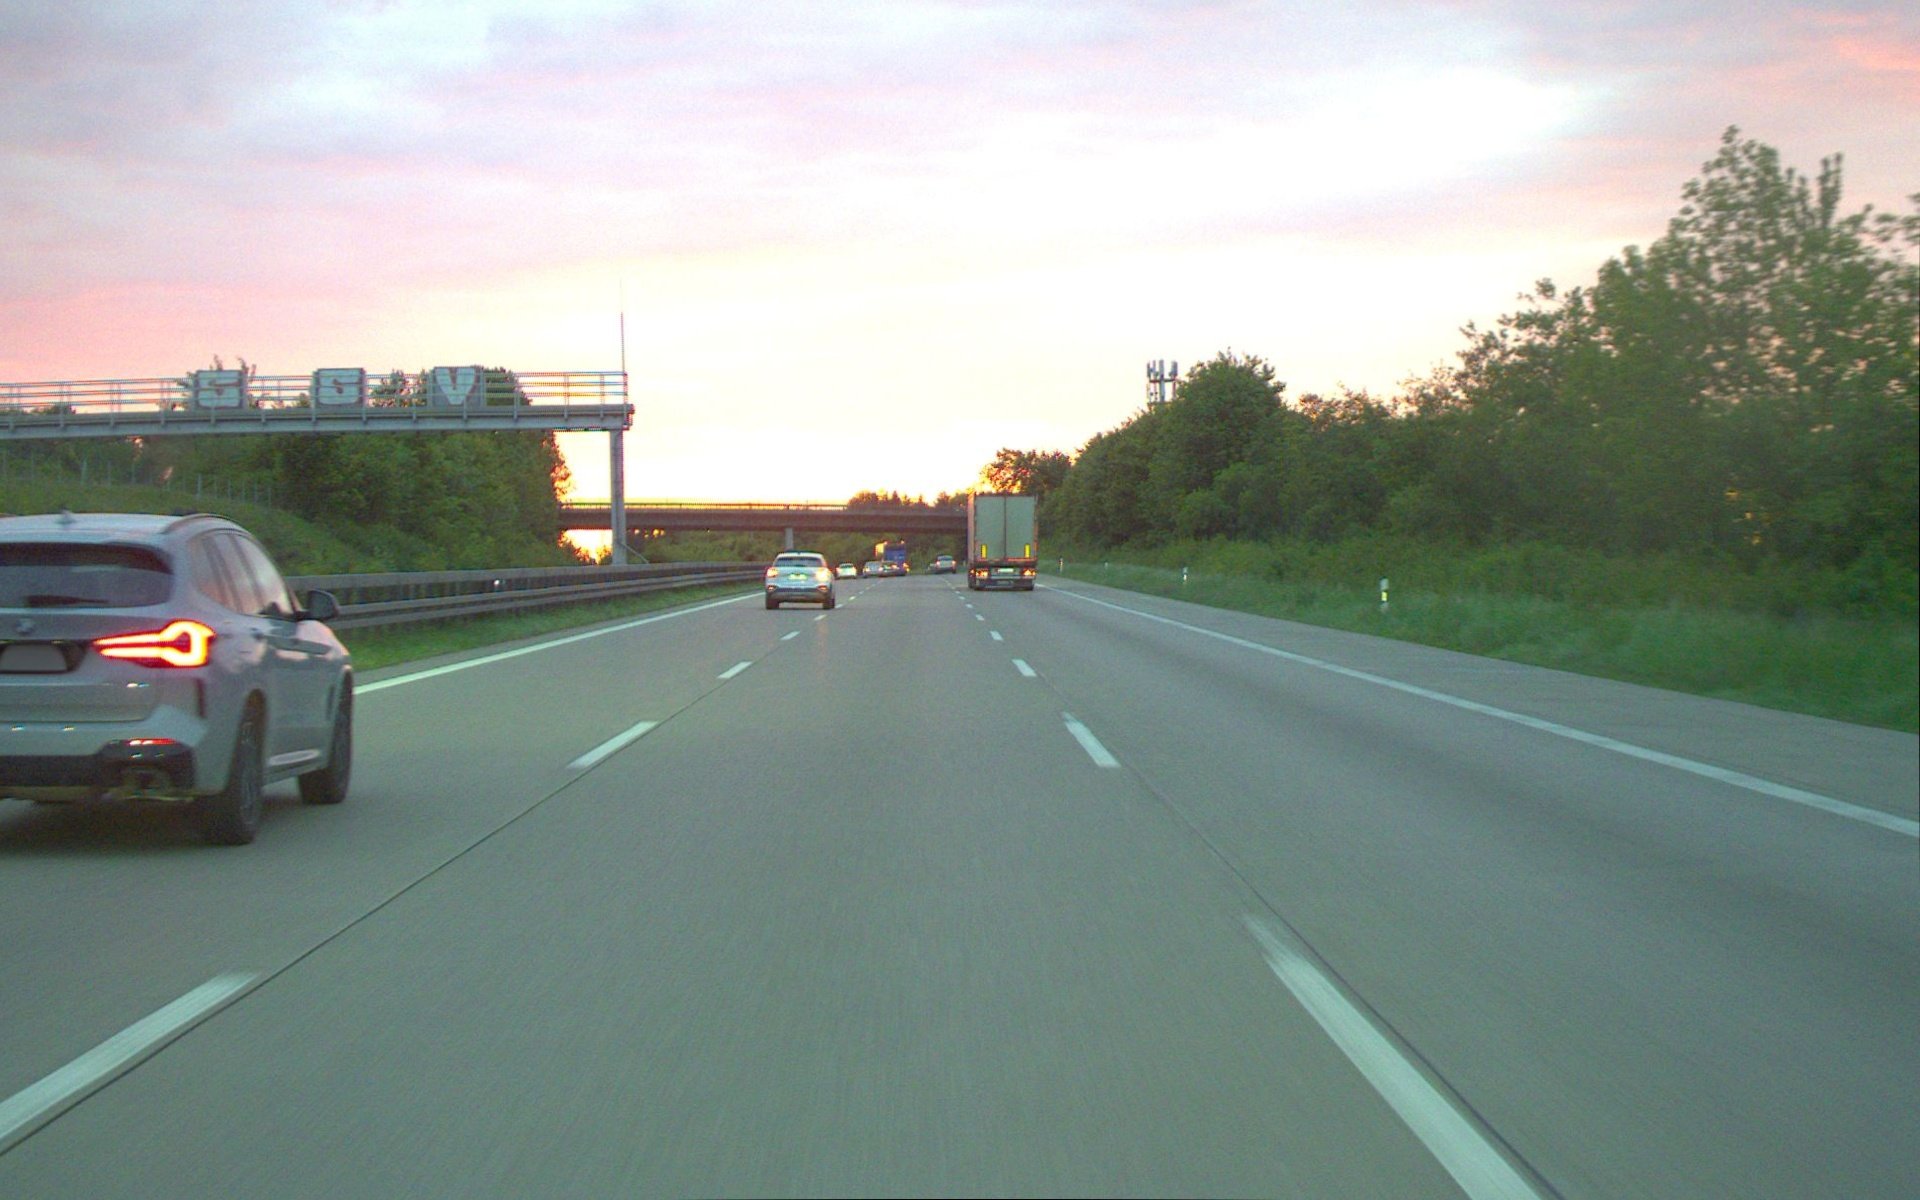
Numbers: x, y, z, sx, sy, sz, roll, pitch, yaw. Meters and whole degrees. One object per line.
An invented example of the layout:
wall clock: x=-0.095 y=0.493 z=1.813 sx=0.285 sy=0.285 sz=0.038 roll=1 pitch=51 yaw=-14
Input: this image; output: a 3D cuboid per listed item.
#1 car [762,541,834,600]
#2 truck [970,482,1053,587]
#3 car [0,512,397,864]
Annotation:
car: x=-4.391 y=-0.827 z=93.873 sx=1.789 sy=1.495 sz=5.038 roll=1 pitch=1 yaw=-1
truck: x=2.086 y=-2.666 z=140.961 sx=3.244 sy=4.113 sz=9.786 roll=-1 pitch=1 yaw=1
car: x=-4.488 y=0.366 z=18.975 sx=1.889 sy=1.654 sz=5.640 roll=0 pitch=1 yaw=-1
